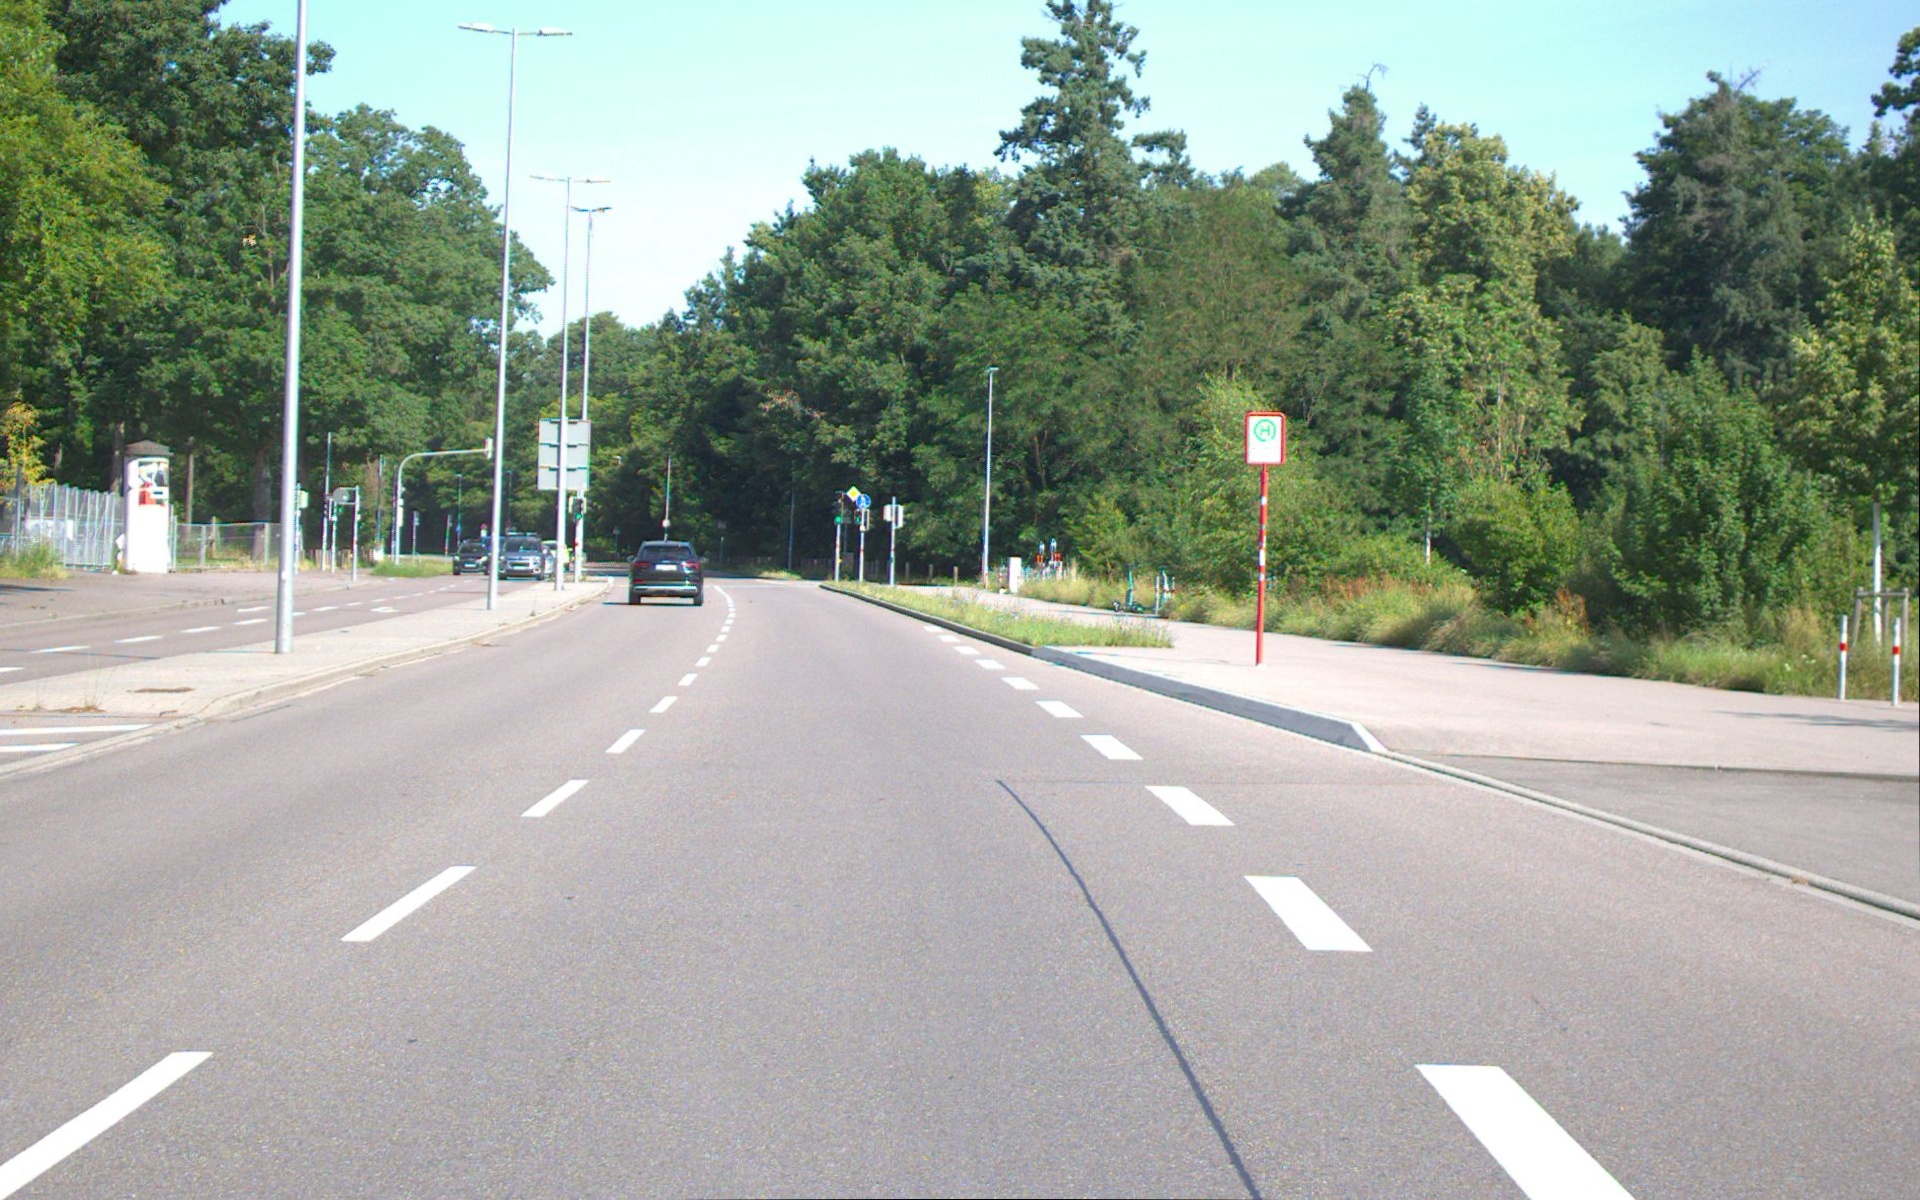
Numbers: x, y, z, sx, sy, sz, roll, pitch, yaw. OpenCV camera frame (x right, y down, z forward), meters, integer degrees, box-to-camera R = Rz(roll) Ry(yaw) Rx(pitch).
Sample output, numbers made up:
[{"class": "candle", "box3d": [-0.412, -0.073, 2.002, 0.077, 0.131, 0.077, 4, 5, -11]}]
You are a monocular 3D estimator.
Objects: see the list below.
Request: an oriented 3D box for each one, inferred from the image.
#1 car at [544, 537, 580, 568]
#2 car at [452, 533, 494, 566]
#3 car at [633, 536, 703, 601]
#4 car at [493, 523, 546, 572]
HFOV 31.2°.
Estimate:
[{"class": "car", "box3d": [-22.099, -2.629, 190.802, 1.845, 1.612, 4.001, 2, 1, -5]}, {"class": "car", "box3d": [-23.118, -2.418, 163.196, 1.793, 1.473, 4.001, 2, 1, -6]}, {"class": "car", "box3d": [-7.258, -0.791, 85.333, 1.687, 1.539, 4.149, 1, 1, -5]}, {"class": "car", "box3d": [-17.985, -2.140, 140.476, 1.841, 1.925, 4.630, 1, 1, -4]}]
